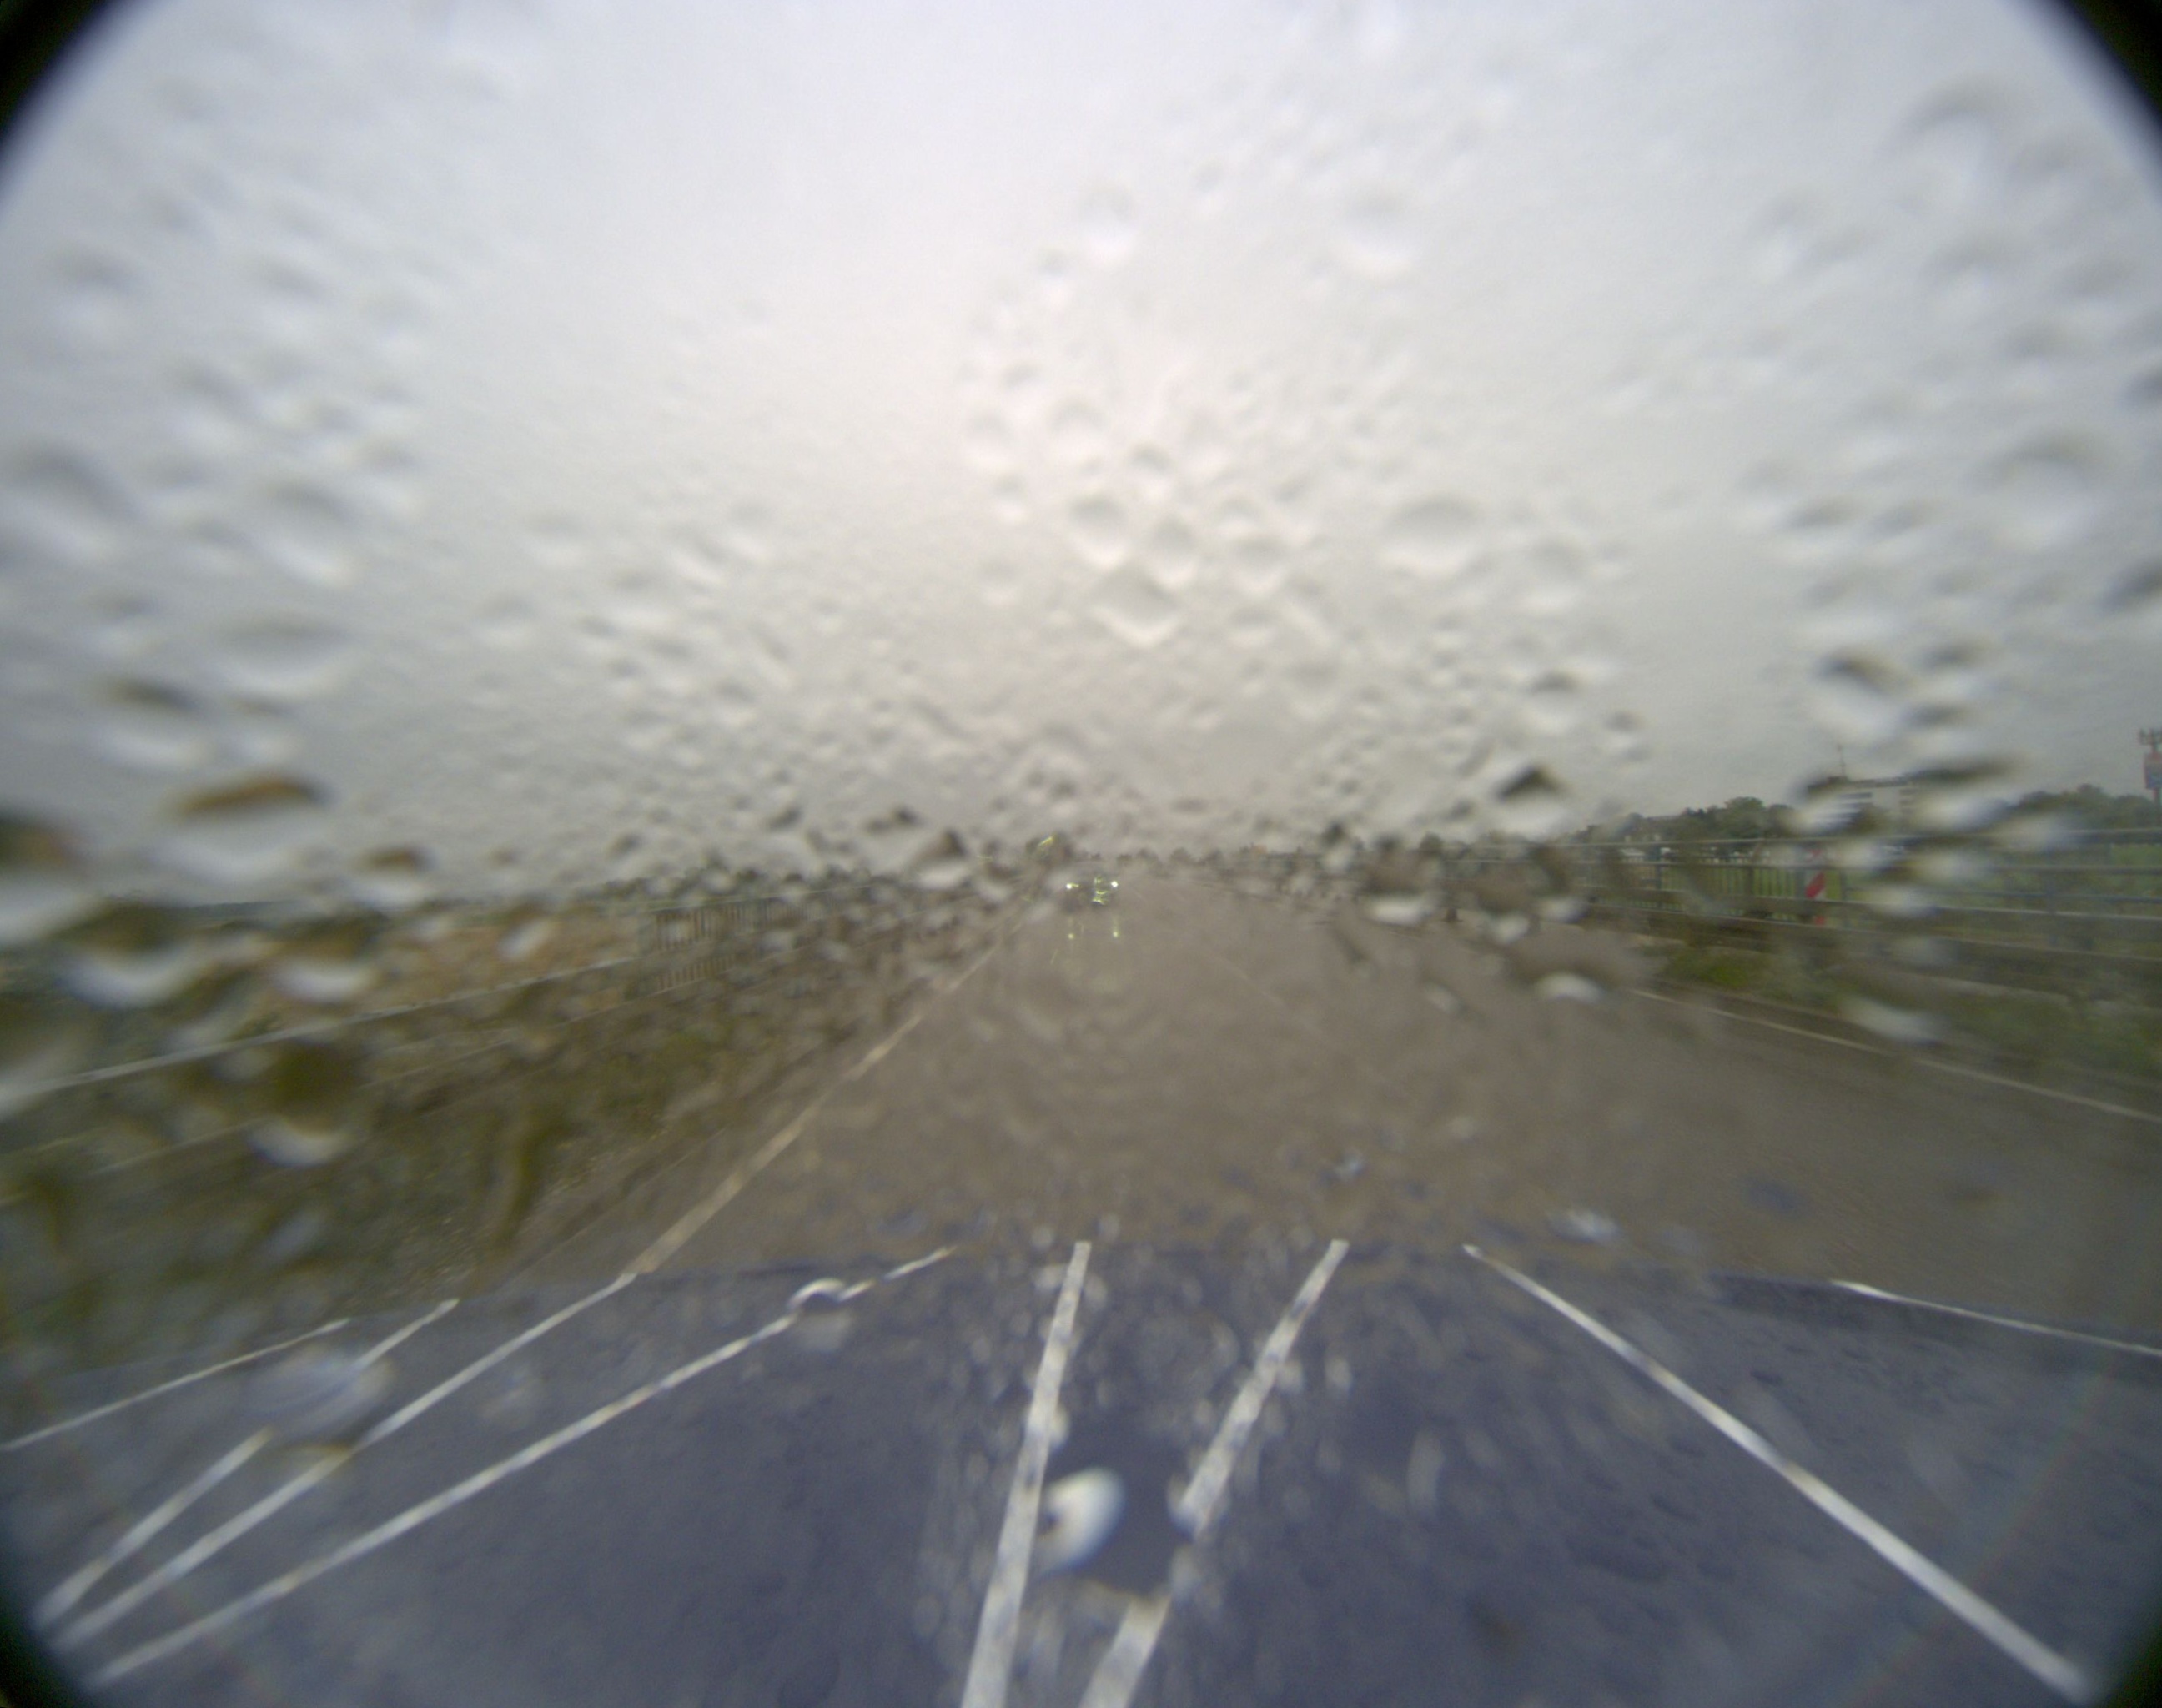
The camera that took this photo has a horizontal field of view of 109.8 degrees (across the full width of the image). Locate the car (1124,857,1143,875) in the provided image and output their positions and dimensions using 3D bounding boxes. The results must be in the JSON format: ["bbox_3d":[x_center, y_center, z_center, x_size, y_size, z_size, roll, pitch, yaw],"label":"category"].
[{"bbox_3d":[5.878,1.340,86.268,1.909,1.930,4.565,-2,0,2],"label":"car"}]

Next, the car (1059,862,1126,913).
[{"bbox_3d":[0.391,1.005,24.602,1.909,1.361,4.565,-2,0,1],"label":"car"}]
